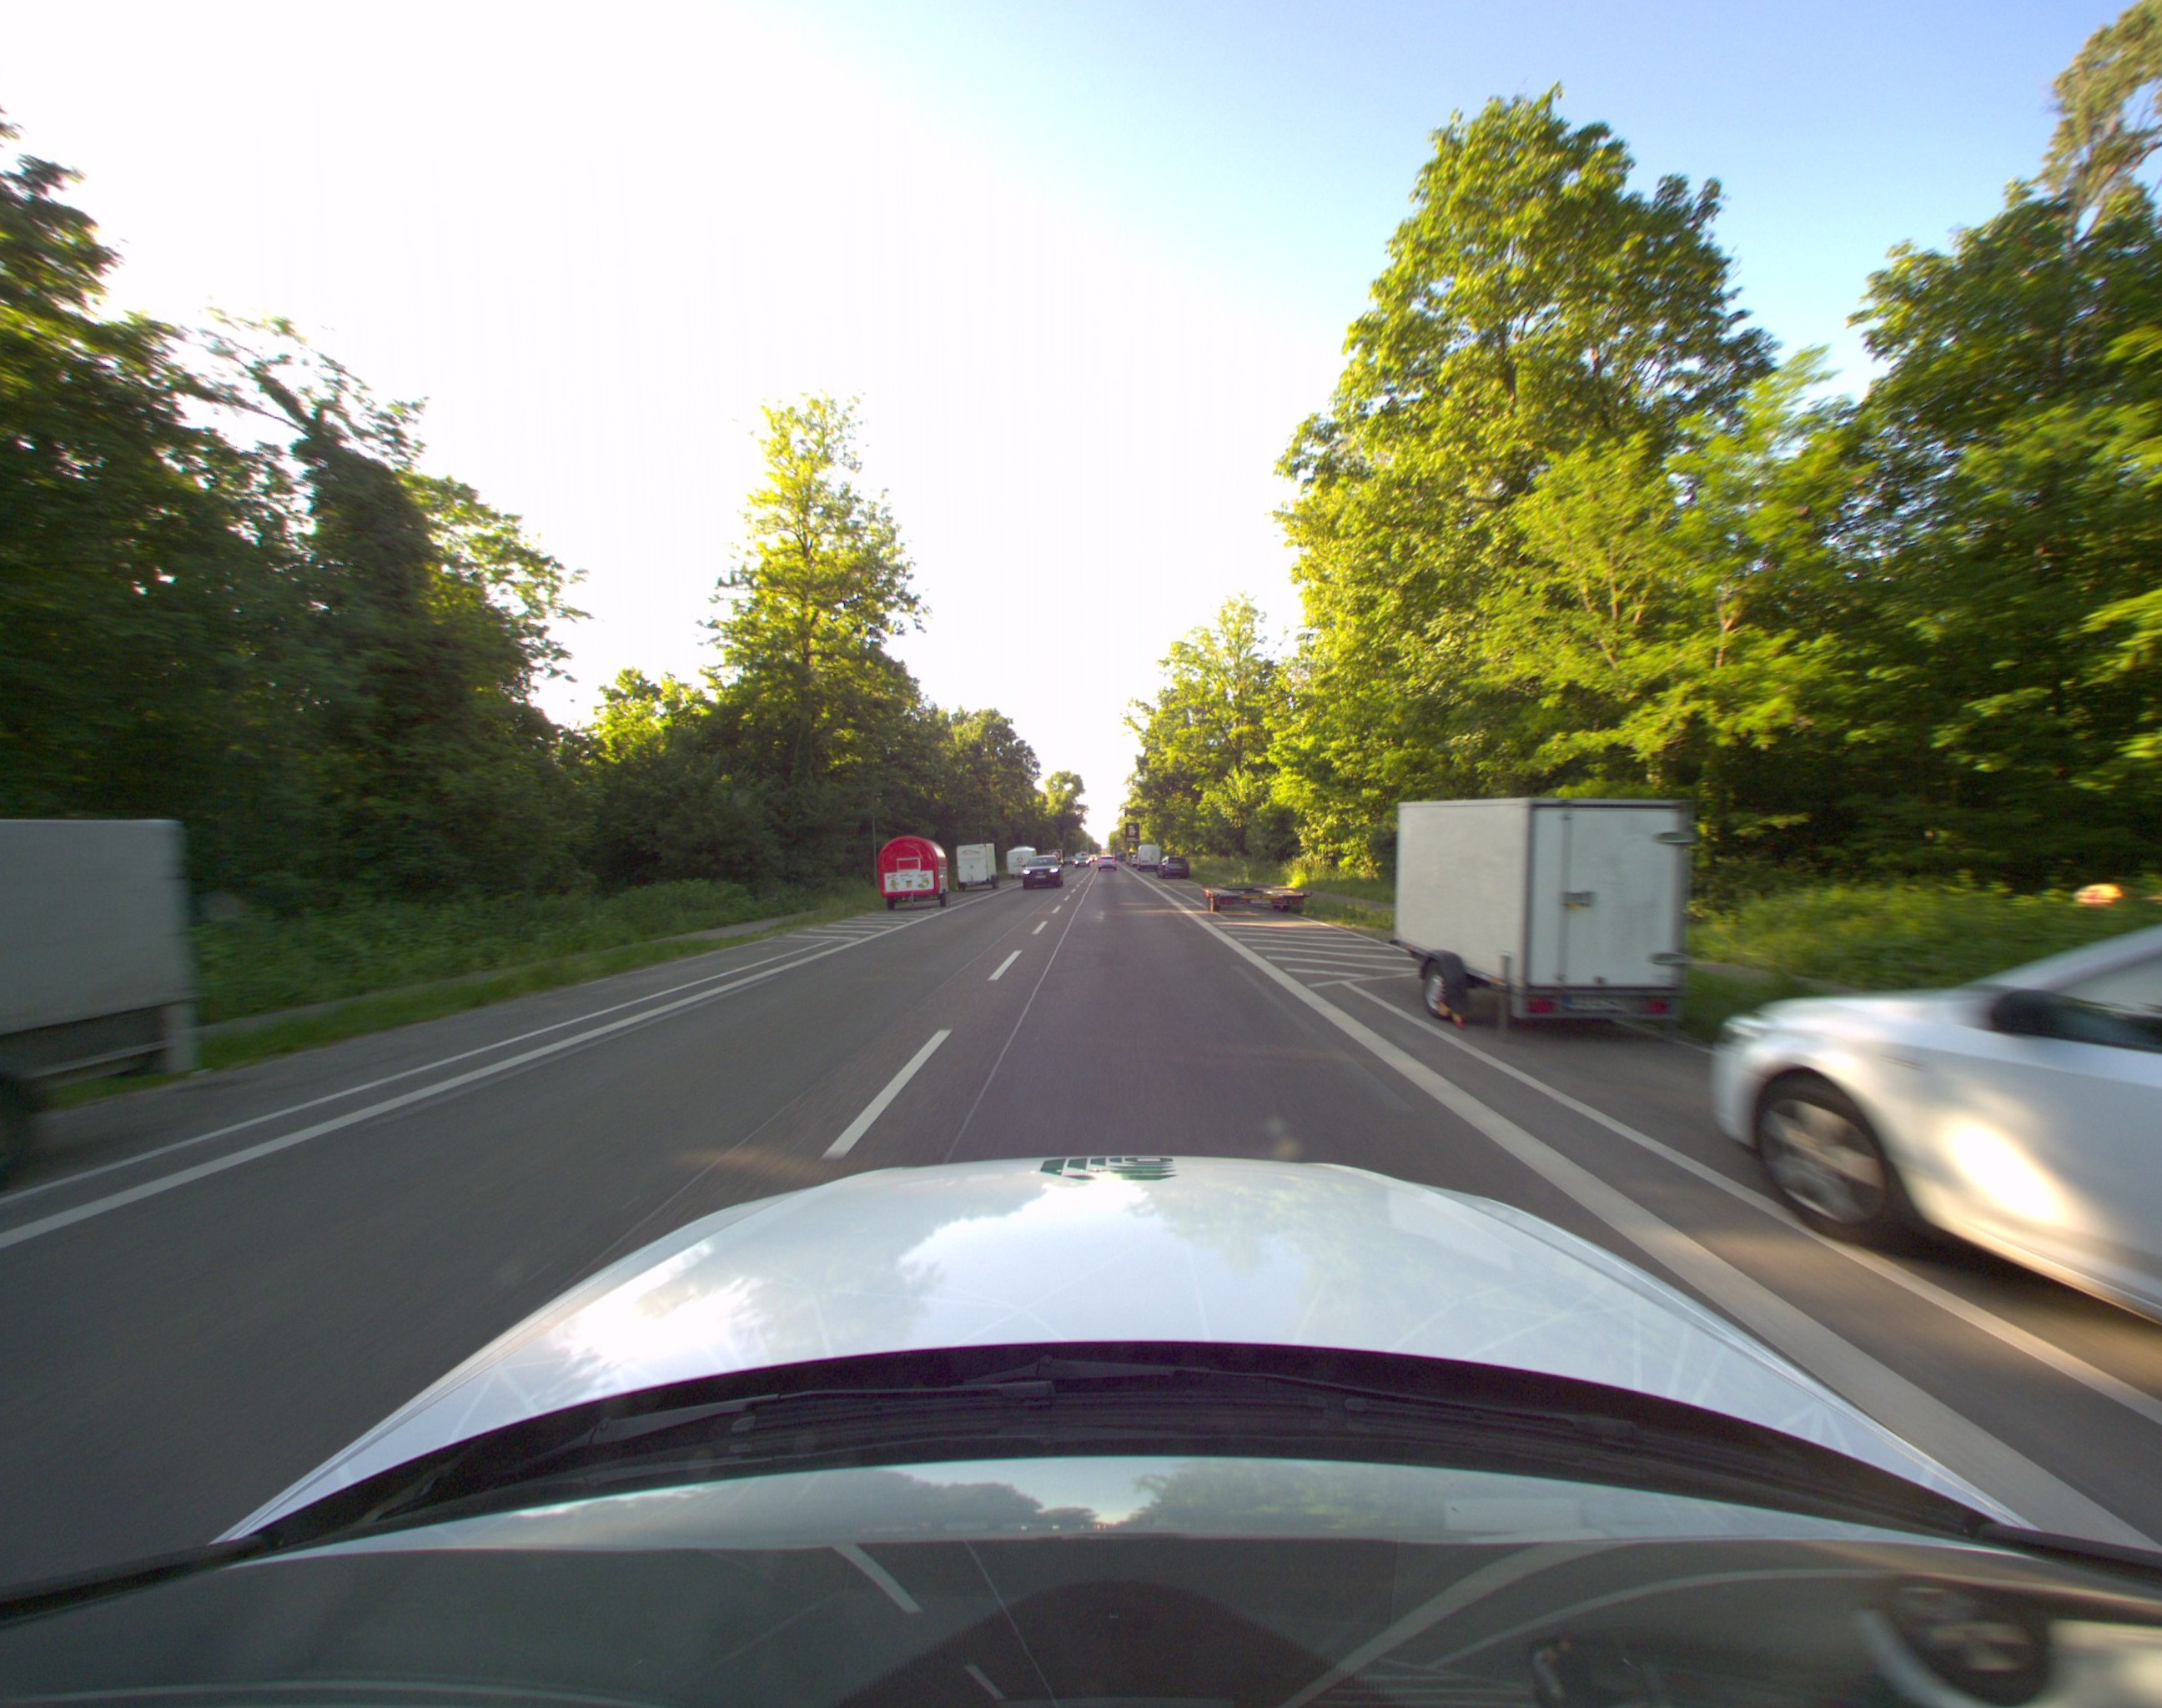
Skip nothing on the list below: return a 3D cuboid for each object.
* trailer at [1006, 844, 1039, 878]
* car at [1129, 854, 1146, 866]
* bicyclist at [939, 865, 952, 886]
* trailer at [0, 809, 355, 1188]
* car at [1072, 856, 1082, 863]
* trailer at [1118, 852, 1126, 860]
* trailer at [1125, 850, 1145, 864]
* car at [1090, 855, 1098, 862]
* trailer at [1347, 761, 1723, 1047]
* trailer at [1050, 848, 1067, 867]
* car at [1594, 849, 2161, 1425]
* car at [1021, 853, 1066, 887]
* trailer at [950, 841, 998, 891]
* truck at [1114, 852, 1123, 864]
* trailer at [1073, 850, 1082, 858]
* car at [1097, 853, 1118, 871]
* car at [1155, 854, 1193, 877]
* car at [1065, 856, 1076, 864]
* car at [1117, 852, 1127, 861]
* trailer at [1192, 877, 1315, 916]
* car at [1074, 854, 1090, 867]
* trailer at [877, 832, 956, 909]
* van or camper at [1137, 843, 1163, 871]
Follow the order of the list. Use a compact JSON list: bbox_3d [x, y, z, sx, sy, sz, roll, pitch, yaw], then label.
[{"bbox_3d":[-4.701,0.545,65.971,2.340,2.529,4.341,-2,0,-2],"label":"trailer"},{"bbox_3d":[6.747,0.696,97.387,1.729,1.488,4.401,0,0,1],"label":"car"},{"bbox_3d":[-9.137,1.452,54.893,0.668,1.364,0.905,-1,-1,2],"label":"bicyclist"},{"bbox_3d":[-6.700,0.832,4.560,1.846,2.013,3.563,-4,0,2],"label":"trailer"},{"bbox_3d":[-0.903,1.237,180.297,1.860,1.450,4.073,-4,0,2],"label":"car"},{"bbox_3d":[11.019,0.567,219.068,1.600,2.112,2.409,-1,0,22],"label":"trailer"},{"bbox_3d":[8.380,0.504,125.446,1.945,2.022,3.864,-2,0,21],"label":"trailer"},{"bbox_3d":[3.054,1.033,188.633,1.598,1.420,3.520,-3,0,1],"label":"car"},{"bbox_3d":[4.098,0.386,8.090,1.748,2.161,3.540,-2,0,1],"label":"trailer"},{"bbox_3d":[-3.126,0.519,114.645,1.986,2.621,4.087,-2,0,2],"label":"trailer"},{"bbox_3d":[3.736,0.730,2.231,1.880,1.468,4.571,-1,0,2],"label":"car"},{"bbox_3d":[-1.843,0.784,41.204,1.811,1.587,4.461,-3,-1,2],"label":"car"},{"bbox_3d":[-5.624,0.603,43.147,2.061,2.480,3.558,-2,0,-2],"label":"trailer"},{"bbox_3d":[11.466,1.240,248.954,2.495,3.366,7.111,-1,-1,2],"label":"truck"},{"bbox_3d":[-0.855,-0.005,219.676,2.066,2.293,3.490,-3,0,3],"label":"trailer"},{"bbox_3d":[2.587,0.783,80.629,1.986,1.640,4.002,-2,0,2],"label":"car"},{"bbox_3d":[6.030,0.703,53.147,1.829,1.421,4.595,1,0,-1],"label":"car"},{"bbox_3d":[-1.891,1.138,152.833,1.848,1.464,4.786,-2,0,2],"label":"car"},{"bbox_3d":[8.758,0.563,174.844,2.105,2.013,5.042,0,0,2],"label":"car"},{"bbox_3d":[4.590,1.115,22.696,2.423,0.798,5.662,-1,0,2],"label":"trailer"},{"bbox_3d":[0.158,0.791,103.972,1.813,1.532,4.532,-3,-1,2],"label":"car"},{"bbox_3d":[-5.750,0.552,28.852,2.061,2.480,3.558,-2,0,-2],"label":"trailer"},{"bbox_3d":[6.438,0.255,76.905,2.117,2.482,6.309,-2,0,3],"label":"van or camper"}]
